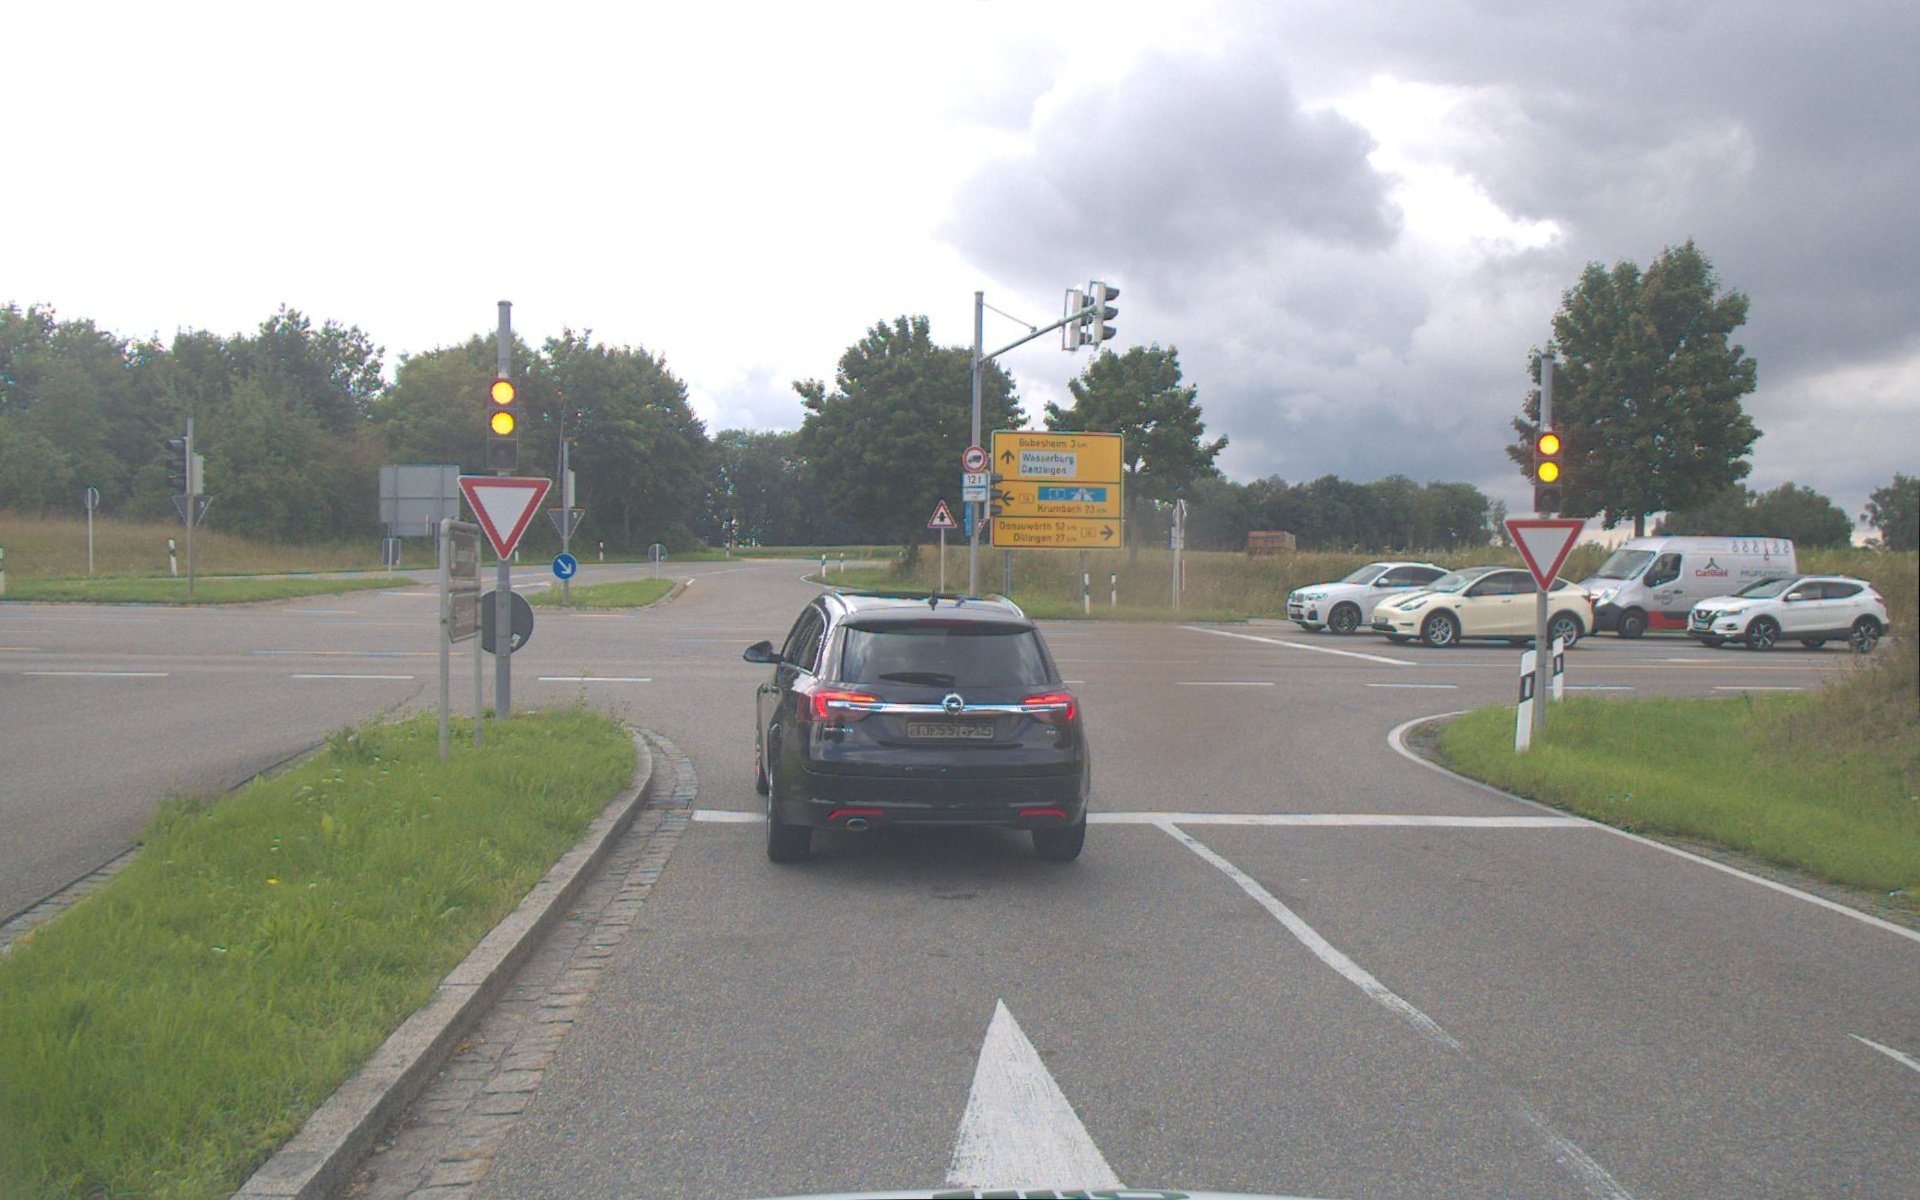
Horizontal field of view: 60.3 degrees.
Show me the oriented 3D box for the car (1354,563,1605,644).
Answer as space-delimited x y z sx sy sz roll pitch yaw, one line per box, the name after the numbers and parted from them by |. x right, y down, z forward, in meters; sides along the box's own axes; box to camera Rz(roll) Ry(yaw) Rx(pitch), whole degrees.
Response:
10.836 0.071 34.597 4.651 1.592 1.994 1 0 -13 | car

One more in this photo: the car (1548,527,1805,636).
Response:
17.509 -0.438 40.534 5.398 2.484 2.391 1 0 -12 | car

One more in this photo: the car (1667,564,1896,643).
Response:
18.111 0.074 36.529 4.234 1.658 1.994 1 0 -13 | car

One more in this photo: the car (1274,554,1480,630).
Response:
9.643 -0.189 38.330 4.188 1.657 1.993 1 0 -14 | car

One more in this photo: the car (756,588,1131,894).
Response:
-0.326 0.691 10.356 1.774 1.476 4.265 1 1 -8 | car
